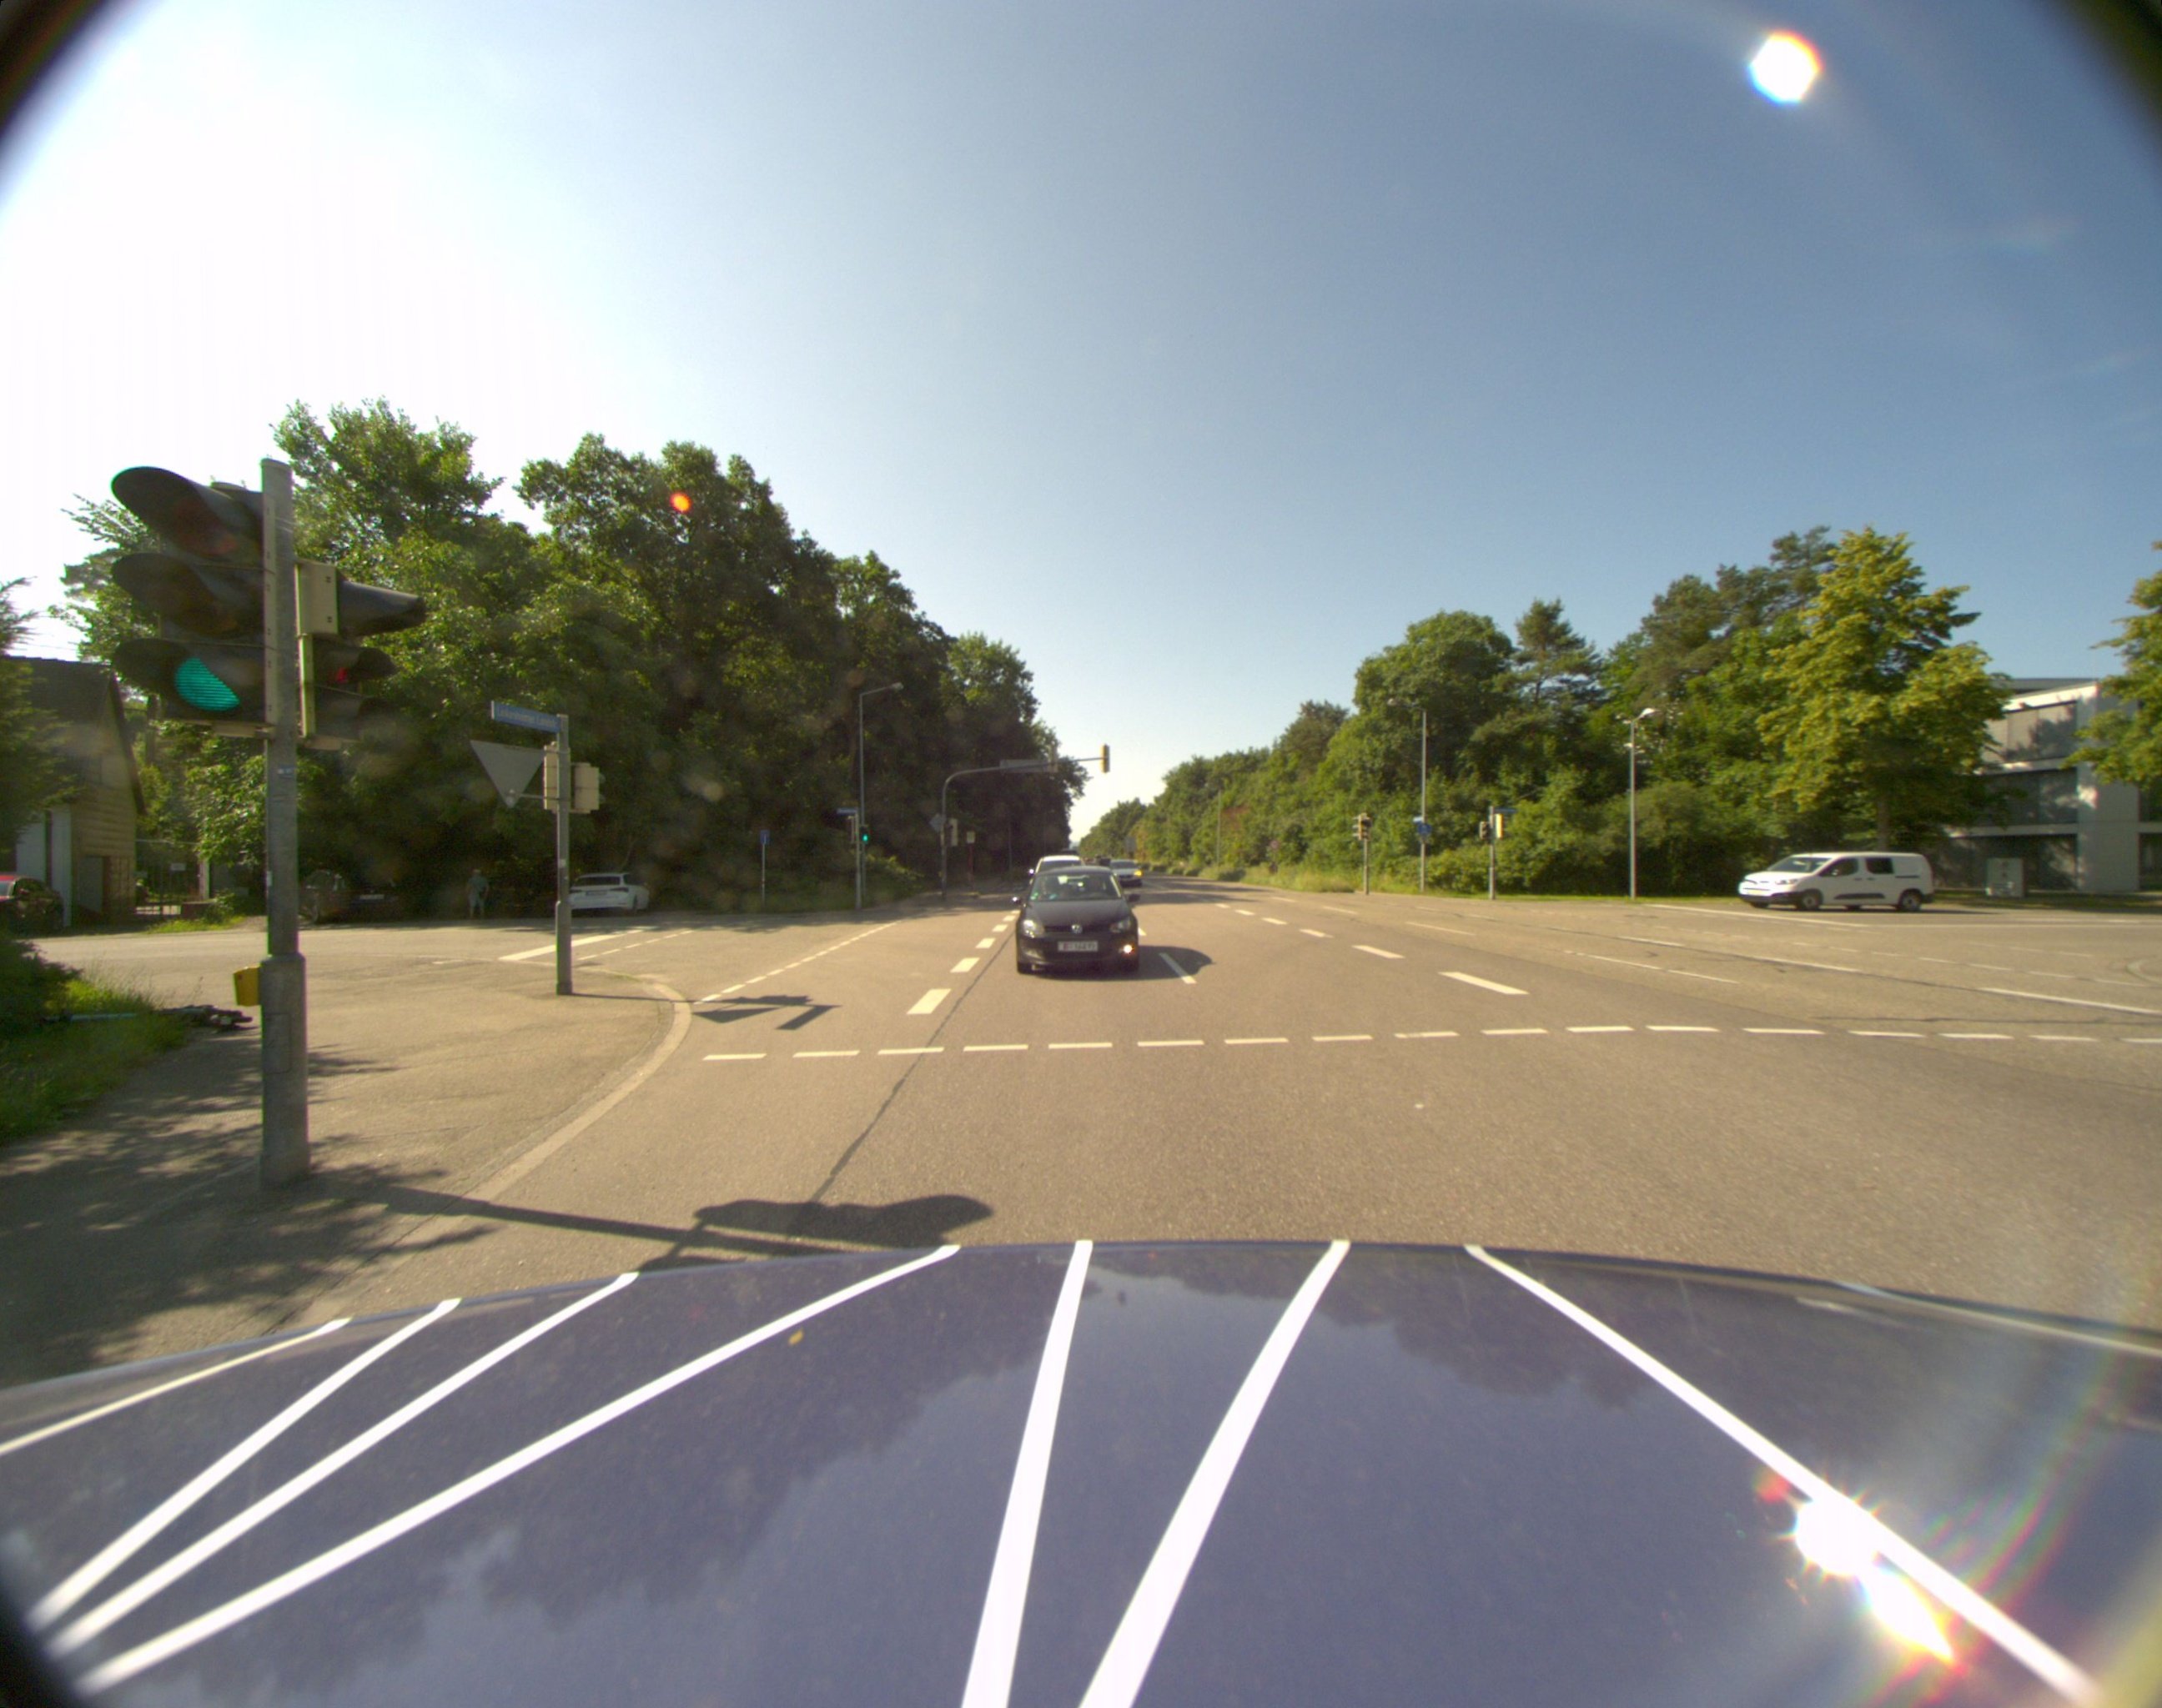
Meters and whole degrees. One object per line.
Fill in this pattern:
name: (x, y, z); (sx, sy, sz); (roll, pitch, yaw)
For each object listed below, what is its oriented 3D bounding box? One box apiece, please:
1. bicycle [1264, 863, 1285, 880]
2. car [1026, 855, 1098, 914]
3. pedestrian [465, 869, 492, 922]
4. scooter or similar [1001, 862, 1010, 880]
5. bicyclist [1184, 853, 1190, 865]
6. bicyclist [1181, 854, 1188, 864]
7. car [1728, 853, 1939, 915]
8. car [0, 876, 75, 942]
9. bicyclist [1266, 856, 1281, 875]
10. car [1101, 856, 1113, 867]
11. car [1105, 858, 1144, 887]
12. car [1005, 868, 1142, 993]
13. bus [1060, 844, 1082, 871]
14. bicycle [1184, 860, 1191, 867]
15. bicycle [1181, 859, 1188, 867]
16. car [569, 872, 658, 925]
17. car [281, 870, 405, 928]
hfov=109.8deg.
bicycle: (13.440, 1.189, 52.901); (0.734, 1.156, 2.372); (0, 0, -2)
car: (-0.494, 0.898, 24.125); (1.812, 1.639, 4.308); (-2, 0, 4)
pedestrian: (-18.839, 1.299, 23.758); (0.611, 1.620, 0.413); (0, 1, -41)
scooter or similar: (-5.452, 1.229, 54.854); (0.401, 1.299, 1.328); (-1, 0, -15)
bicyclist: (12.906, 0.641, 92.685); (0.612, 1.458, 0.944); (-2, 1, 1)
bicyclist: (13.296, 0.639, 97.448); (0.702, 1.256, 0.727); (-2, 1, 1)
car: (23.114, 0.887, 23.457); (4.658, 1.767, 1.852); (1, 1, -1)
car: (-26.428, 1.311, 18.241); (1.632, 1.455, 3.977); (0, 0, -36)
bicyclist: (13.392, 0.771, 52.879); (0.723, 1.303, 0.883); (0, 0, -3)
car: (4.099, 1.157, 120.145); (1.795, 1.687, 4.391); (1, 1, -1)
car: (2.280, 0.969, 40.904); (1.789, 1.416, 4.422); (-2, 0, -1)
car: (-0.062, 0.987, 11.497); (1.650, 1.422, 4.055); (-3, 0, 1)
bus: (-1.385, 0.385, 104.628); (2.783, 3.437, 7.792); (-2, 1, -1)
bicycle: (12.941, 1.157, 92.681); (0.605, 0.909, 2.139); (0, 0, 1)
bicycle: (13.322, 1.186, 97.487); (0.605, 0.952, 2.139); (0, 0, 1)
car: (-15.114, 1.380, 24.791); (1.630, 1.455, 4.607); (0, 0, -21)
car: (-21.120, 1.223, 21.729); (3.780, 1.455, 1.632); (0, 0, 31)
